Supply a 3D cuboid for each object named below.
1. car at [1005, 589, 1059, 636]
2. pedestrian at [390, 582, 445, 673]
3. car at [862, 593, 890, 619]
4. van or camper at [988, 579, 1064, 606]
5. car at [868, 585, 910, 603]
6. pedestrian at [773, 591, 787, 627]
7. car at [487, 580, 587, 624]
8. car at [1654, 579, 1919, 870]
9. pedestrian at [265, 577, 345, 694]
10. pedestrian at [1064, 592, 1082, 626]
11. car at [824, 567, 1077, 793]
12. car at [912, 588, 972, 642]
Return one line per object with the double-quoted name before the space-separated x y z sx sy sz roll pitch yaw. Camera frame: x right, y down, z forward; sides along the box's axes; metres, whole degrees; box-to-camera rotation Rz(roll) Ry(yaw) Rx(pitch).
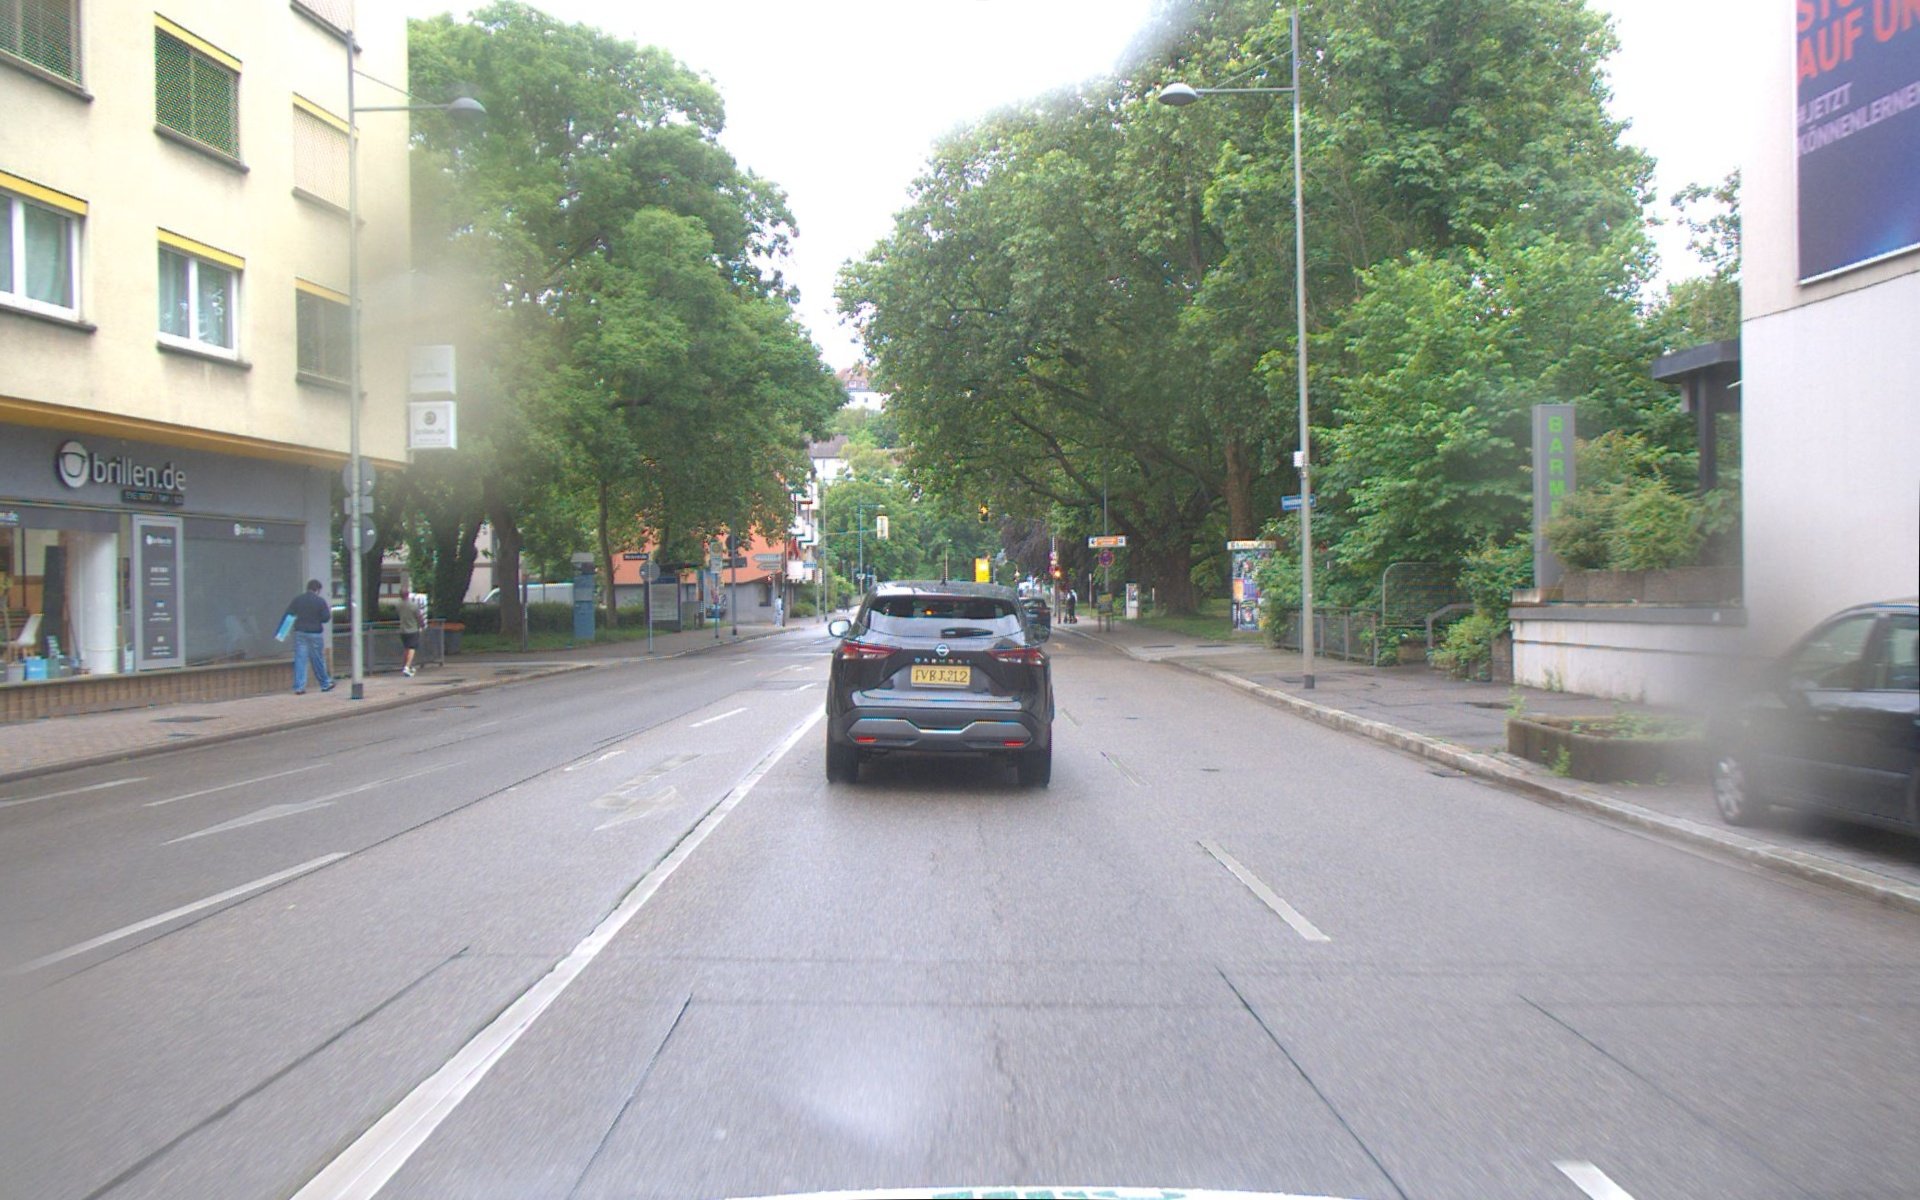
"car" 3.002 0.520 69.962 1.907 1.848 3.998 -3 -1 -2
"pedestrian" -10.405 0.526 31.728 0.782 1.718 0.817 -1 0 -1
"car" -6.096 0.423 120.184 1.783 1.827 3.866 1 0 1
"van or camper" 9.428 -1.132 237.176 10.709 3.619 3.183 1 0 -2
"car" -10.116 -0.869 235.609 5.957 2.396 2.420 1 0 -4
"pedestrian" -9.337 0.451 85.763 0.654 1.822 0.720 1 0 -7
"car" -17.941 0.084 70.290 3.756 1.764 1.879 1 0 -2
"car" 5.839 0.636 9.837 1.679 1.467 4.082 -3 0 0
"pedestrian" -10.525 0.553 26.600 0.847 1.819 0.875 2 0 5
"pedestrian" 6.060 0.484 88.835 0.663 1.822 0.710 1 0 -42
"car" -0.201 0.583 14.279 1.857 1.657 3.997 1 0 -4
"car" -0.568 0.498 55.253 1.905 1.714 4.000 -1 -1 1
